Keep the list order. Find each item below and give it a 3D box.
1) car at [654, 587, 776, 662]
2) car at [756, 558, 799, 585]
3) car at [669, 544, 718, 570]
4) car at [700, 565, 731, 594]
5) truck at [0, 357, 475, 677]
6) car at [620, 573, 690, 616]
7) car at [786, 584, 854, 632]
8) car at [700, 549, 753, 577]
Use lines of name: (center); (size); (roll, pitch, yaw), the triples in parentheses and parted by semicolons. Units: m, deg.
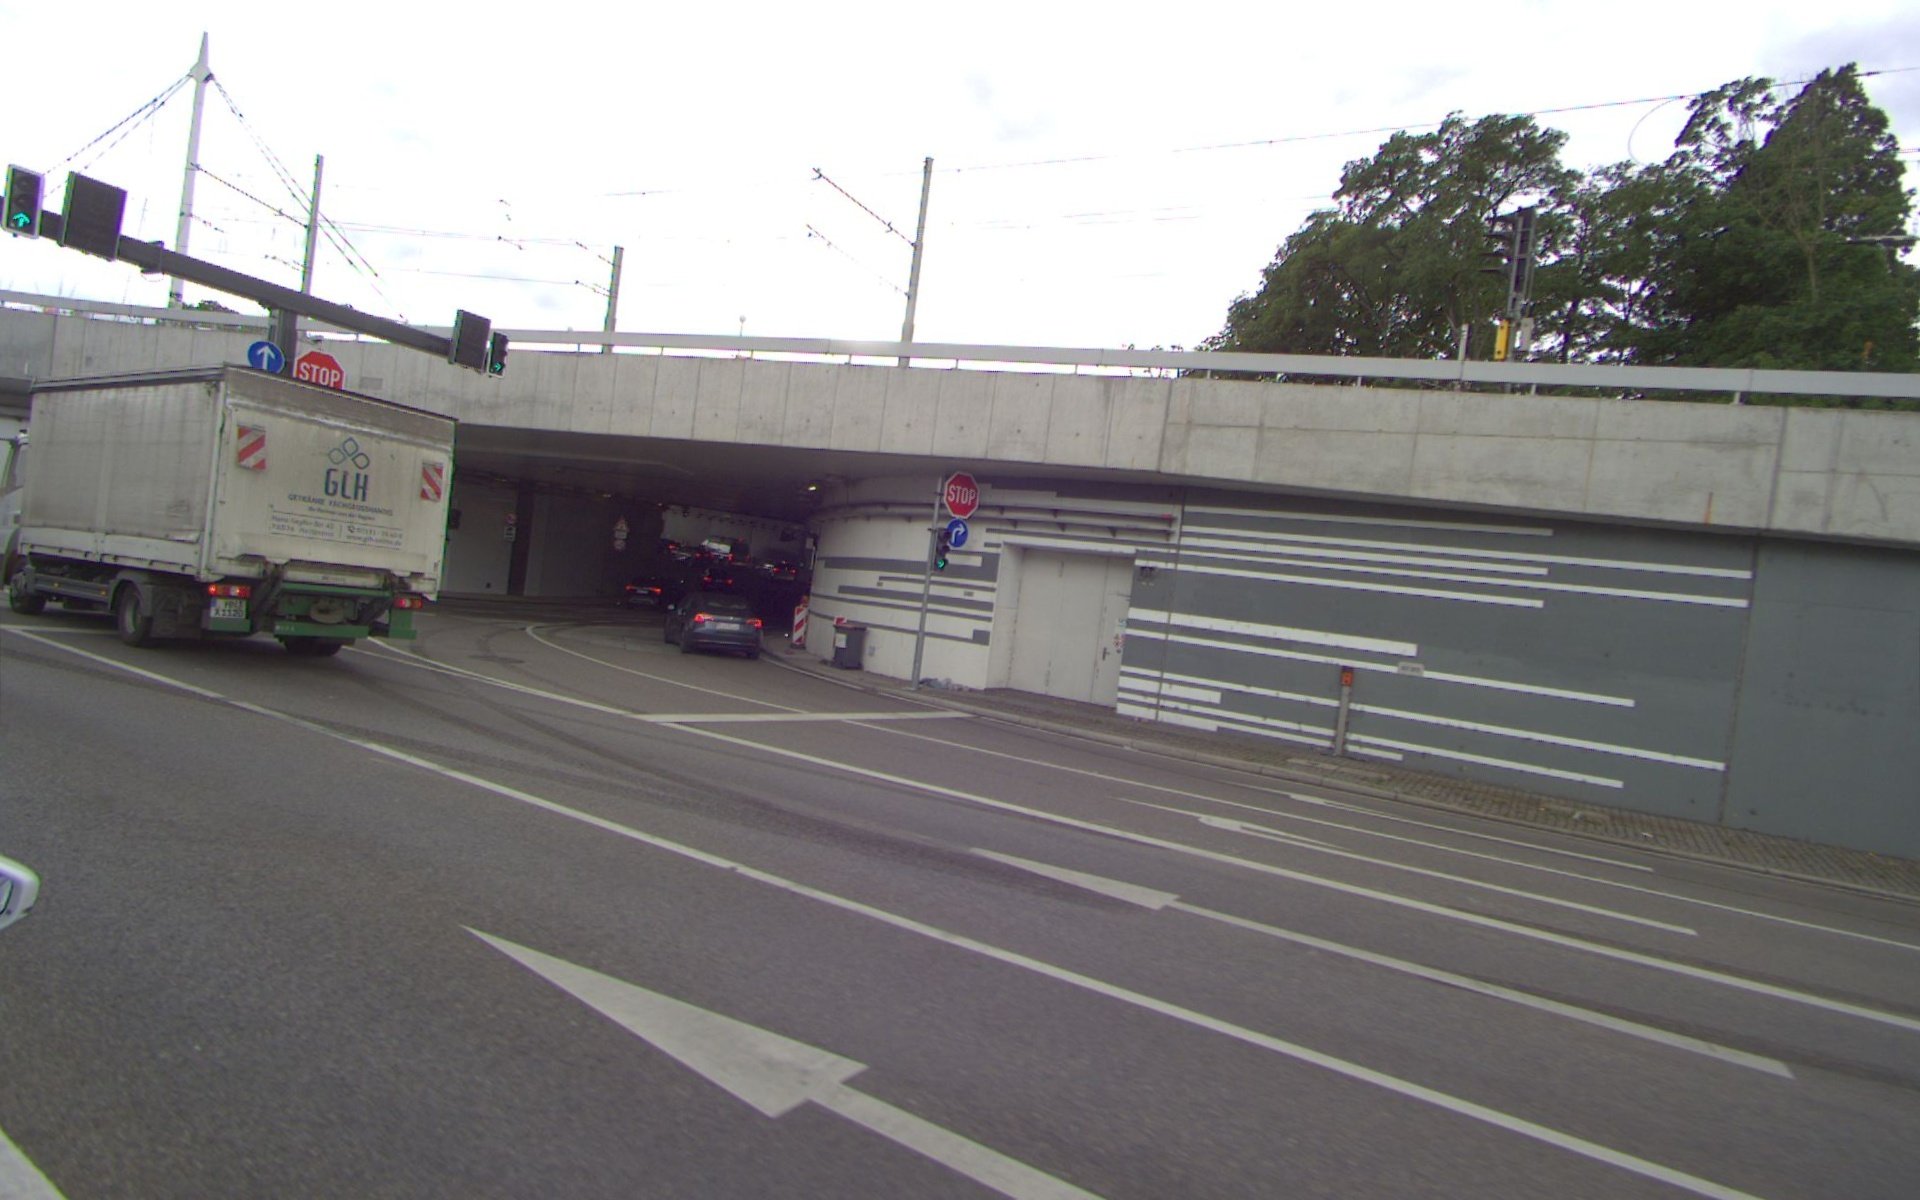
car: (-6.077, 0.535, 24.562); (1.974, 1.419, 4.440); (5, 0, -25)
car: (-14.267, -2.244, 78.593); (1.829, 1.679, 4.322); (5, 3, -30)
car: (-21.644, -3.483, 81.671); (1.839, 1.677, 4.307); (8, -1, -43)
car: (-15.481, -1.316, 63.547); (1.664, 1.351, 3.652); (8, 3, -16)
truck: (-9.972, -1.109, 13.228); (7.302, 3.224, 2.654); (7, 0, 31)
car: (-13.826, -0.291, 45.829); (1.799, 1.610, 3.996); (7, 2, 1)
car: (-6.510, 0.311, 47.230); (1.962, 1.860, 4.356); (7, 3, 6)
car: (-19.713, -3.111, 84.766); (4.334, 1.649, 2.132); (10, 3, 42)
